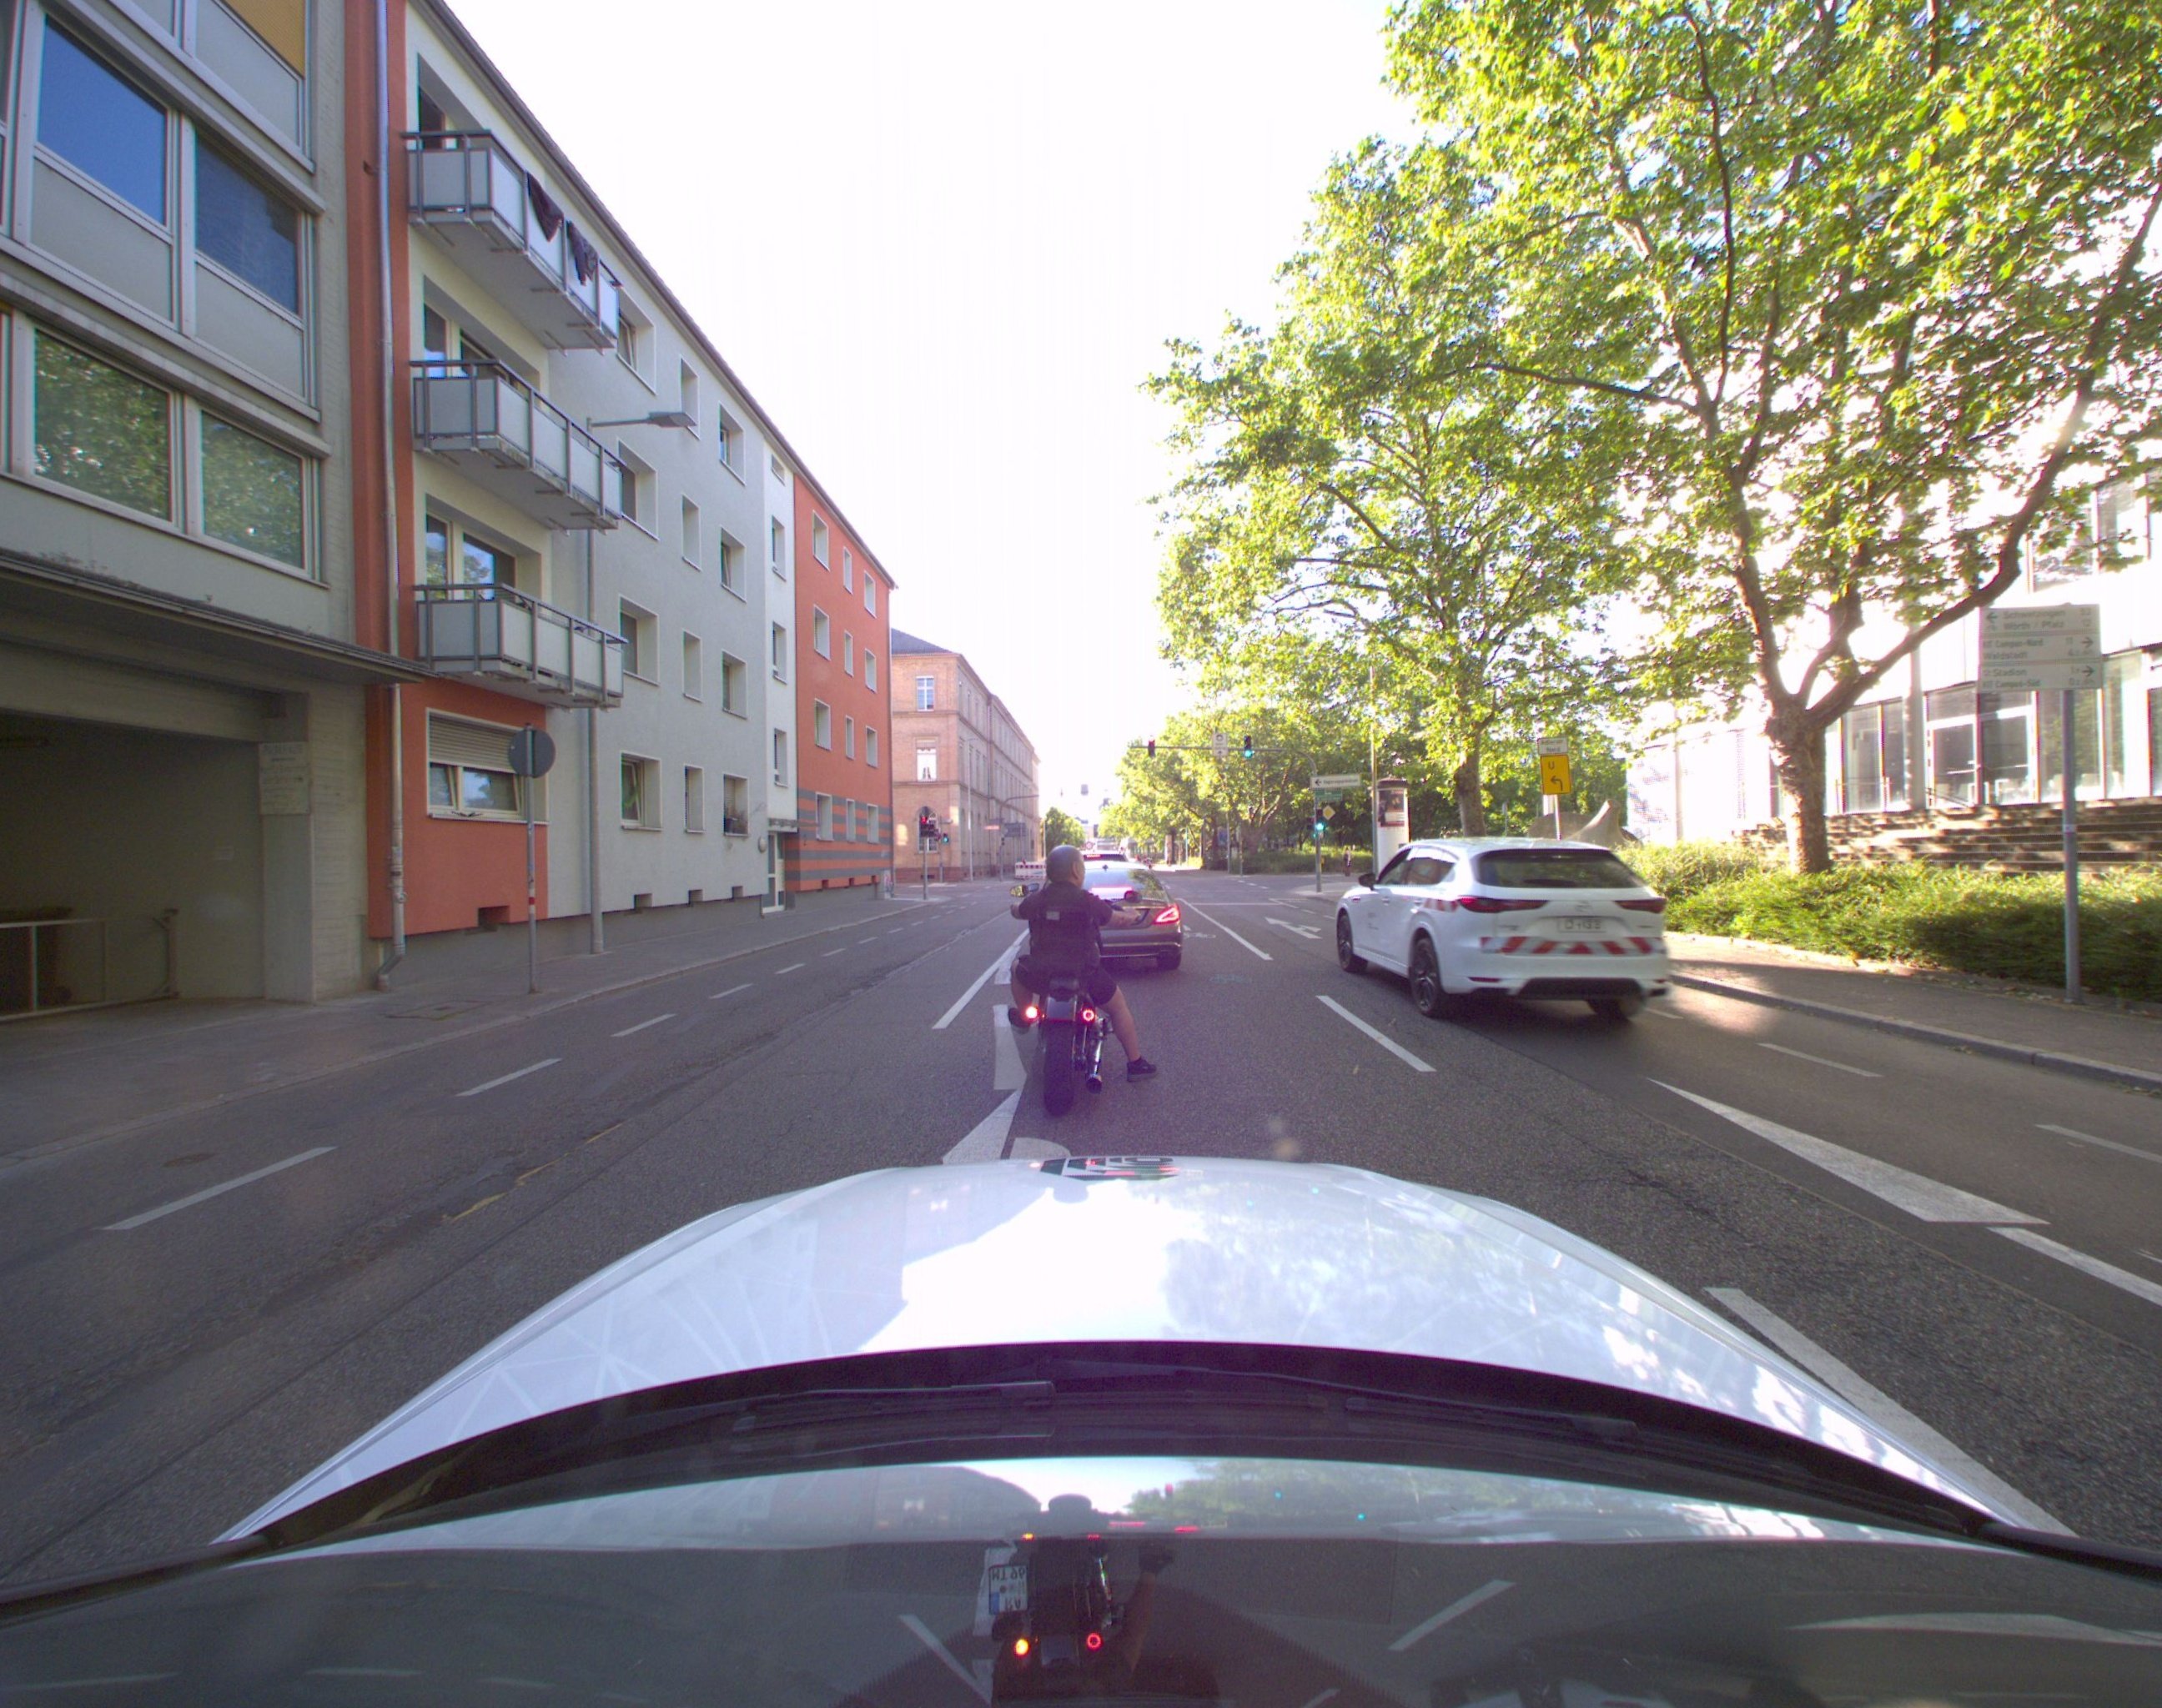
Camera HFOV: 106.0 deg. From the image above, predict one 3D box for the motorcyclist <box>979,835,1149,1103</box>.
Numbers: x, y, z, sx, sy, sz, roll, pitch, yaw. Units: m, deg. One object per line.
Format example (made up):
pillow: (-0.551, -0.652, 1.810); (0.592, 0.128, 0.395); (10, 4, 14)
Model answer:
motorcyclist: (-0.083, 0.685, 5.475); (0.977, 1.578, 1.249); (-1, 0, 1)

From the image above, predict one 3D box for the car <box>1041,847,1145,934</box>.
car: (0.288, 0.726, 17.680); (1.986, 1.665, 4.001); (0, -1, 2)

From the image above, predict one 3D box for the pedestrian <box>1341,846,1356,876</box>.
pedestrian: (15.690, 0.413, 47.782); (0.671, 1.772, 0.621); (-1, -1, 31)

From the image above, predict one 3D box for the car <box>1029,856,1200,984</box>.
car: (0.262, 0.774, 11.753); (1.867, 1.444, 4.421); (-1, 0, -6)

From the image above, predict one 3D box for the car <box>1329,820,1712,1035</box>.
car: (4.201, 0.576, 8.769); (1.935, 1.708, 4.487); (0, 0, 3)

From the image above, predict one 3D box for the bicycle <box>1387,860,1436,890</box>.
bicycle: (11.078, 0.712, 27.330); (1.475, 0.980, 0.300); (0, -1, 7)

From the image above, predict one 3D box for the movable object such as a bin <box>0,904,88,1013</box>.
movable object such as a bin: (-11.290, 1.092, 8.655); (0.639, 1.065, 0.675); (-1, 0, 1)

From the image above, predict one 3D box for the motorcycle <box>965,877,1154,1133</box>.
motorcycle: (-0.077, 0.841, 5.542); (0.977, 1.275, 2.408); (-1, 0, 2)
